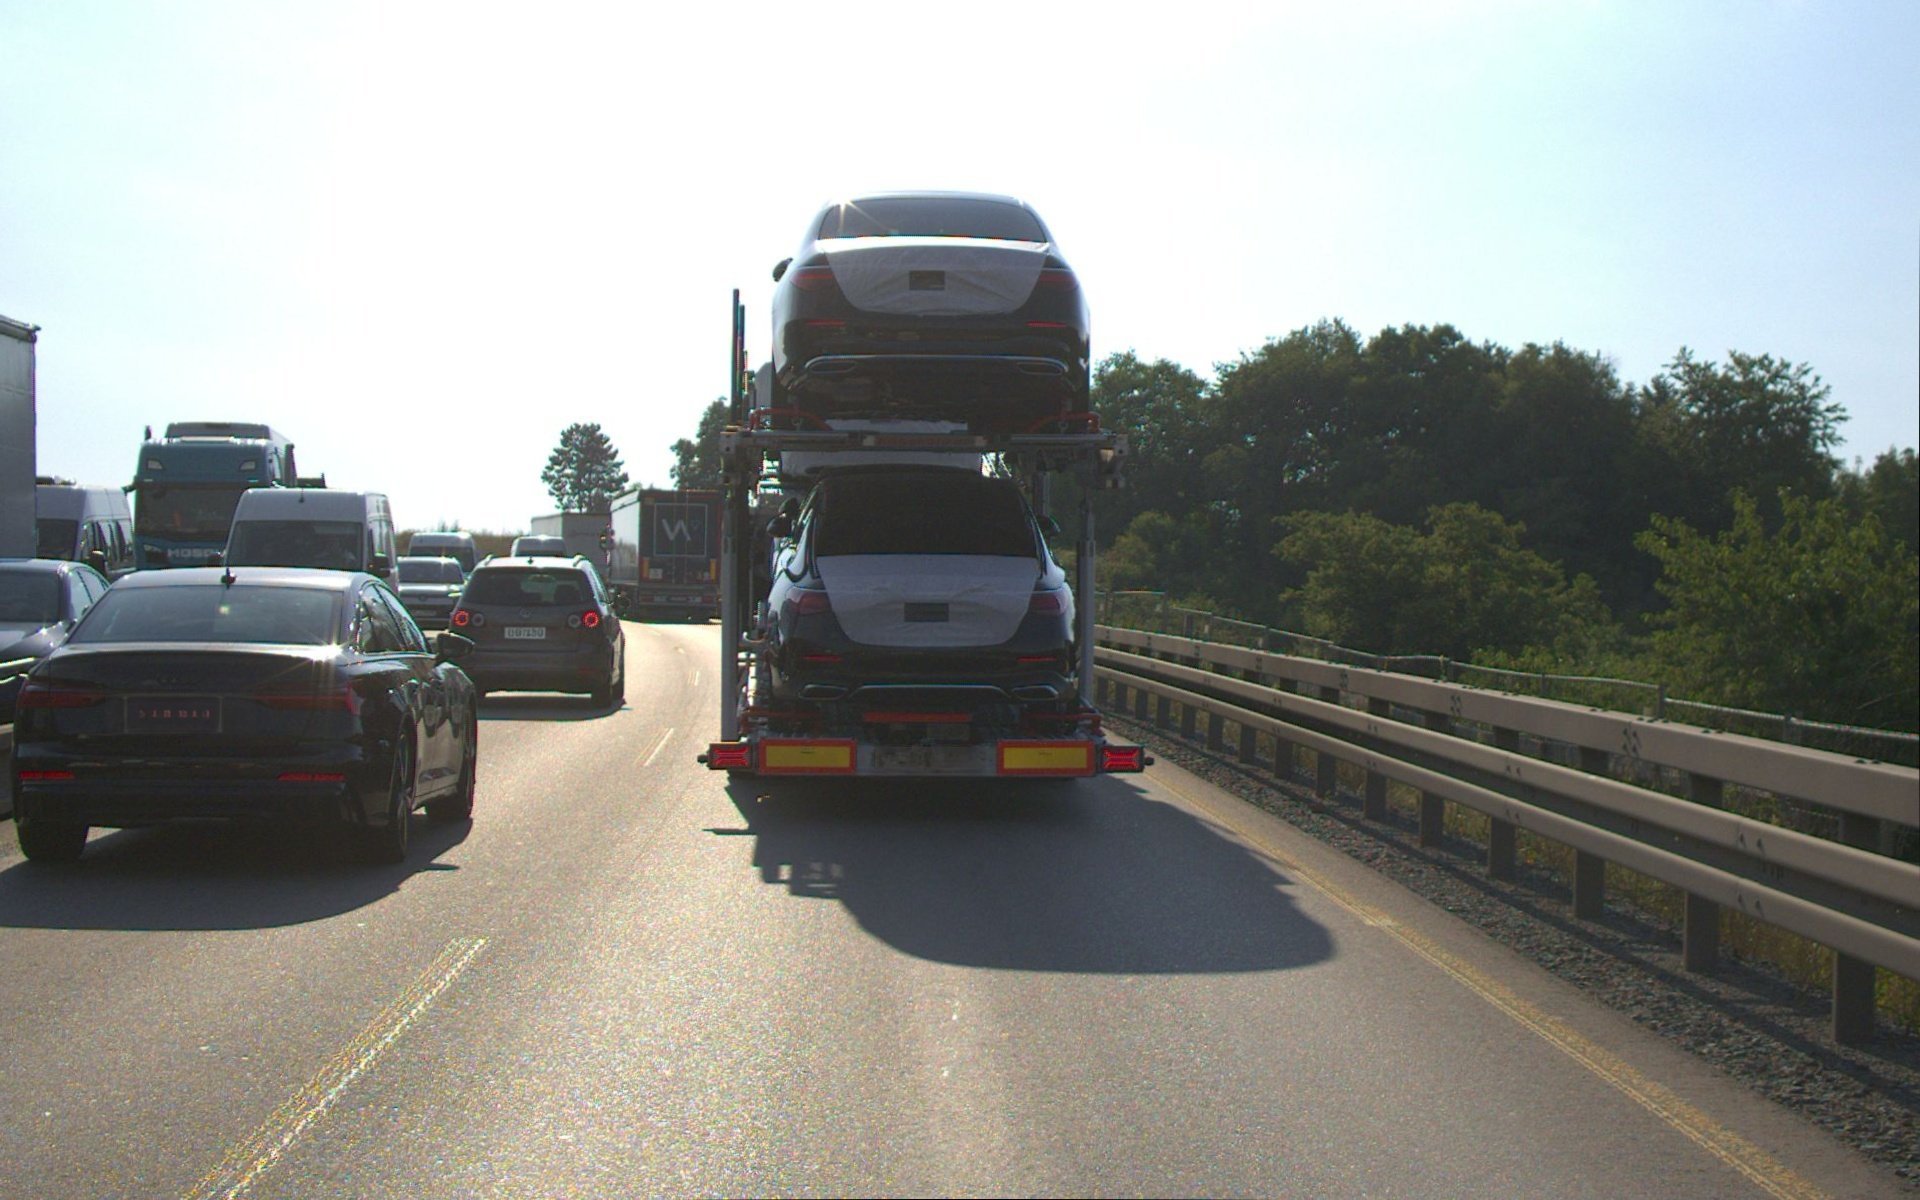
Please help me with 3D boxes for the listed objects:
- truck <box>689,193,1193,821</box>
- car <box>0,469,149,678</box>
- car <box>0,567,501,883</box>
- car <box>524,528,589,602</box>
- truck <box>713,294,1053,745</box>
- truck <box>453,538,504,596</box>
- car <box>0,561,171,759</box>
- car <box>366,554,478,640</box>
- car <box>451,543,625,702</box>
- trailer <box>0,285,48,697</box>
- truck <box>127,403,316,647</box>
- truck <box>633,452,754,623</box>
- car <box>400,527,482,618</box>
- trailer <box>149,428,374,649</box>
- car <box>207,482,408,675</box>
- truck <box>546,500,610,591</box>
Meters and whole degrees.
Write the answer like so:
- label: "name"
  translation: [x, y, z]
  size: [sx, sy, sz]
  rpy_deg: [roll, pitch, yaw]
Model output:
- label: "truck"
  translation: [-0.379, -0.551, 24.469]
  size: [2.799, 3.485, 10.606]
  rpy_deg: [0, 0, -3]
- label: "car"
  translation: [-12.063, -0.346, 44.689]
  size: [2.157, 2.549, 5.590]
  rpy_deg: [0, 0, -5]
- label: "car"
  translation: [-3.621, 0.551, 18.168]
  size: [1.934, 1.394, 4.961]
  rpy_deg: [0, 1, -3]
- label: "car"
  translation: [-13.865, -1.196, 118.326]
  size: [1.920, 2.484, 5.409]
  rpy_deg: [0, 0, -3]
- label: "truck"
  translation: [-0.934, -0.709, 33.861]
  size: [2.837, 3.779, 9.988]
  rpy_deg: [0, 0, -3]
- label: "truck"
  translation: [-26.803, -1.828, 191.555]
  size: [2.590, 3.159, 6.678]
  rpy_deg: [0, 0, -6]
- label: "car"
  translation: [-7.380, 0.396, 26.186]
  size: [1.759, 1.373, 4.768]
  rpy_deg: [0, 0, -2]
- label: "car"
  translation: [-10.895, -0.082, 69.843]
  size: [1.870, 1.688, 4.597]
  rpy_deg: [0, 0, -4]
- label: "car"
  translation: [-4.451, 0.212, 36.662]
  size: [1.691, 1.590, 4.001]
  rpy_deg: [0, 0, -5]
- label: "trailer"
  translation: [-10.423, -1.050, 29.249]
  size: [2.306, 4.116, 14.603]
  rpy_deg: [0, 0, -4]
- label: "truck"
  translation: [-12.847, -1.269, 60.171]
  size: [2.503, 4.052, 5.885]
  rpy_deg: [0, 0, -5]
- label: "truck"
  translation: [-8.644, -1.946, 110.462]
  size: [3.285, 5.219, 9.938]
  rpy_deg: [0, 0, -8]
- label: "car"
  translation: [-14.658, -0.781, 97.390]
  size: [2.104, 2.474, 6.068]
  rpy_deg: [0, 0, -7]
- label: "trailer"
  translation: [-13.572, -1.137, 68.049]
  size: [2.694, 3.860, 15.394]
  rpy_deg: [0, 0, -5]
- label: "car"
  translation: [-8.963, -0.299, 47.769]
  size: [2.056, 2.491, 6.777]
  rpy_deg: [0, 0, -5]
- label: "truck"
  translation: [-15.837, -2.231, 142.611]
  size: [2.530, 3.635, 8.907]
  rpy_deg: [0, 0, -6]
